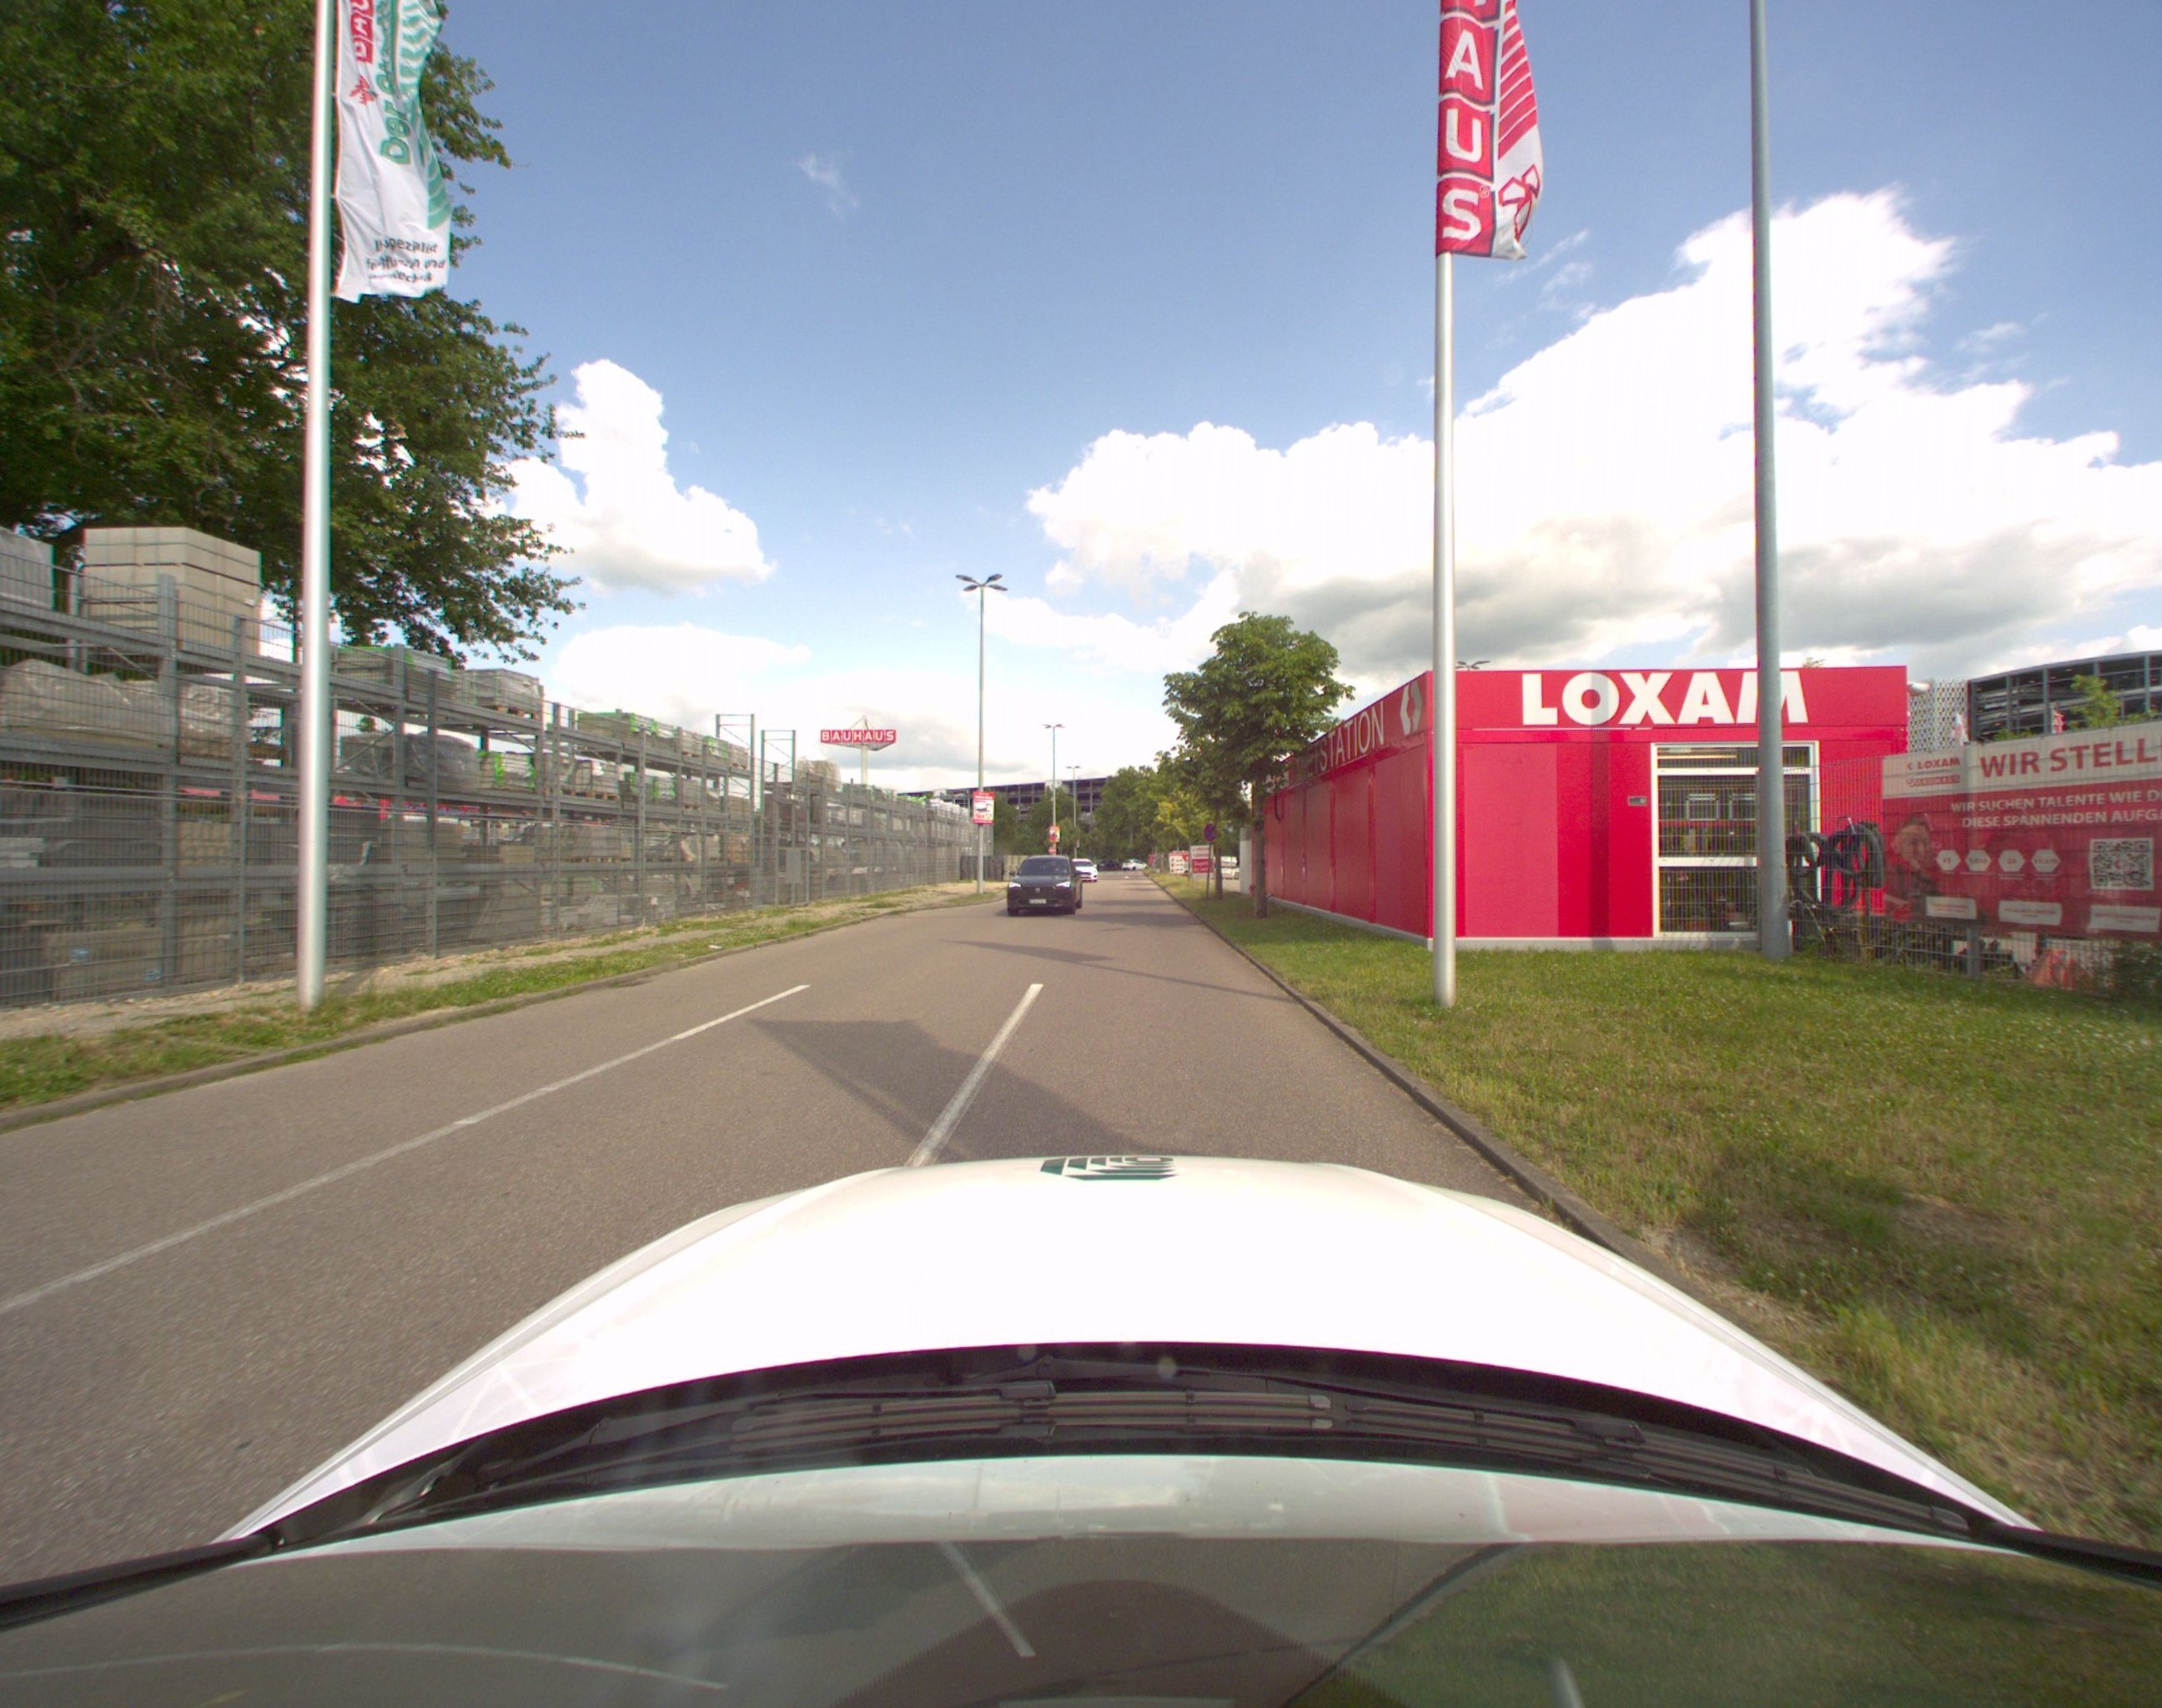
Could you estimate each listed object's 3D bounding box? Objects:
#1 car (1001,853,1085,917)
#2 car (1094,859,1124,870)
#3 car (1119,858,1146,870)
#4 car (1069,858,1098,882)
[{"bbox_3d":[-0.988,0.813,23.673,1.906,1.618,4.378,-1,0,4],"label":"car"},{"bbox_3d":[3.675,1.347,106.361,1.711,1.410,4.270,-1,0,37],"label":"car"},{"bbox_3d":[6.531,1.235,103.299,1.649,1.411,3.579,-1,-1,42],"label":"car"},{"bbox_3d":[0.195,0.995,52.411,1.797,1.464,4.329,0,0,1],"label":"car"}]
